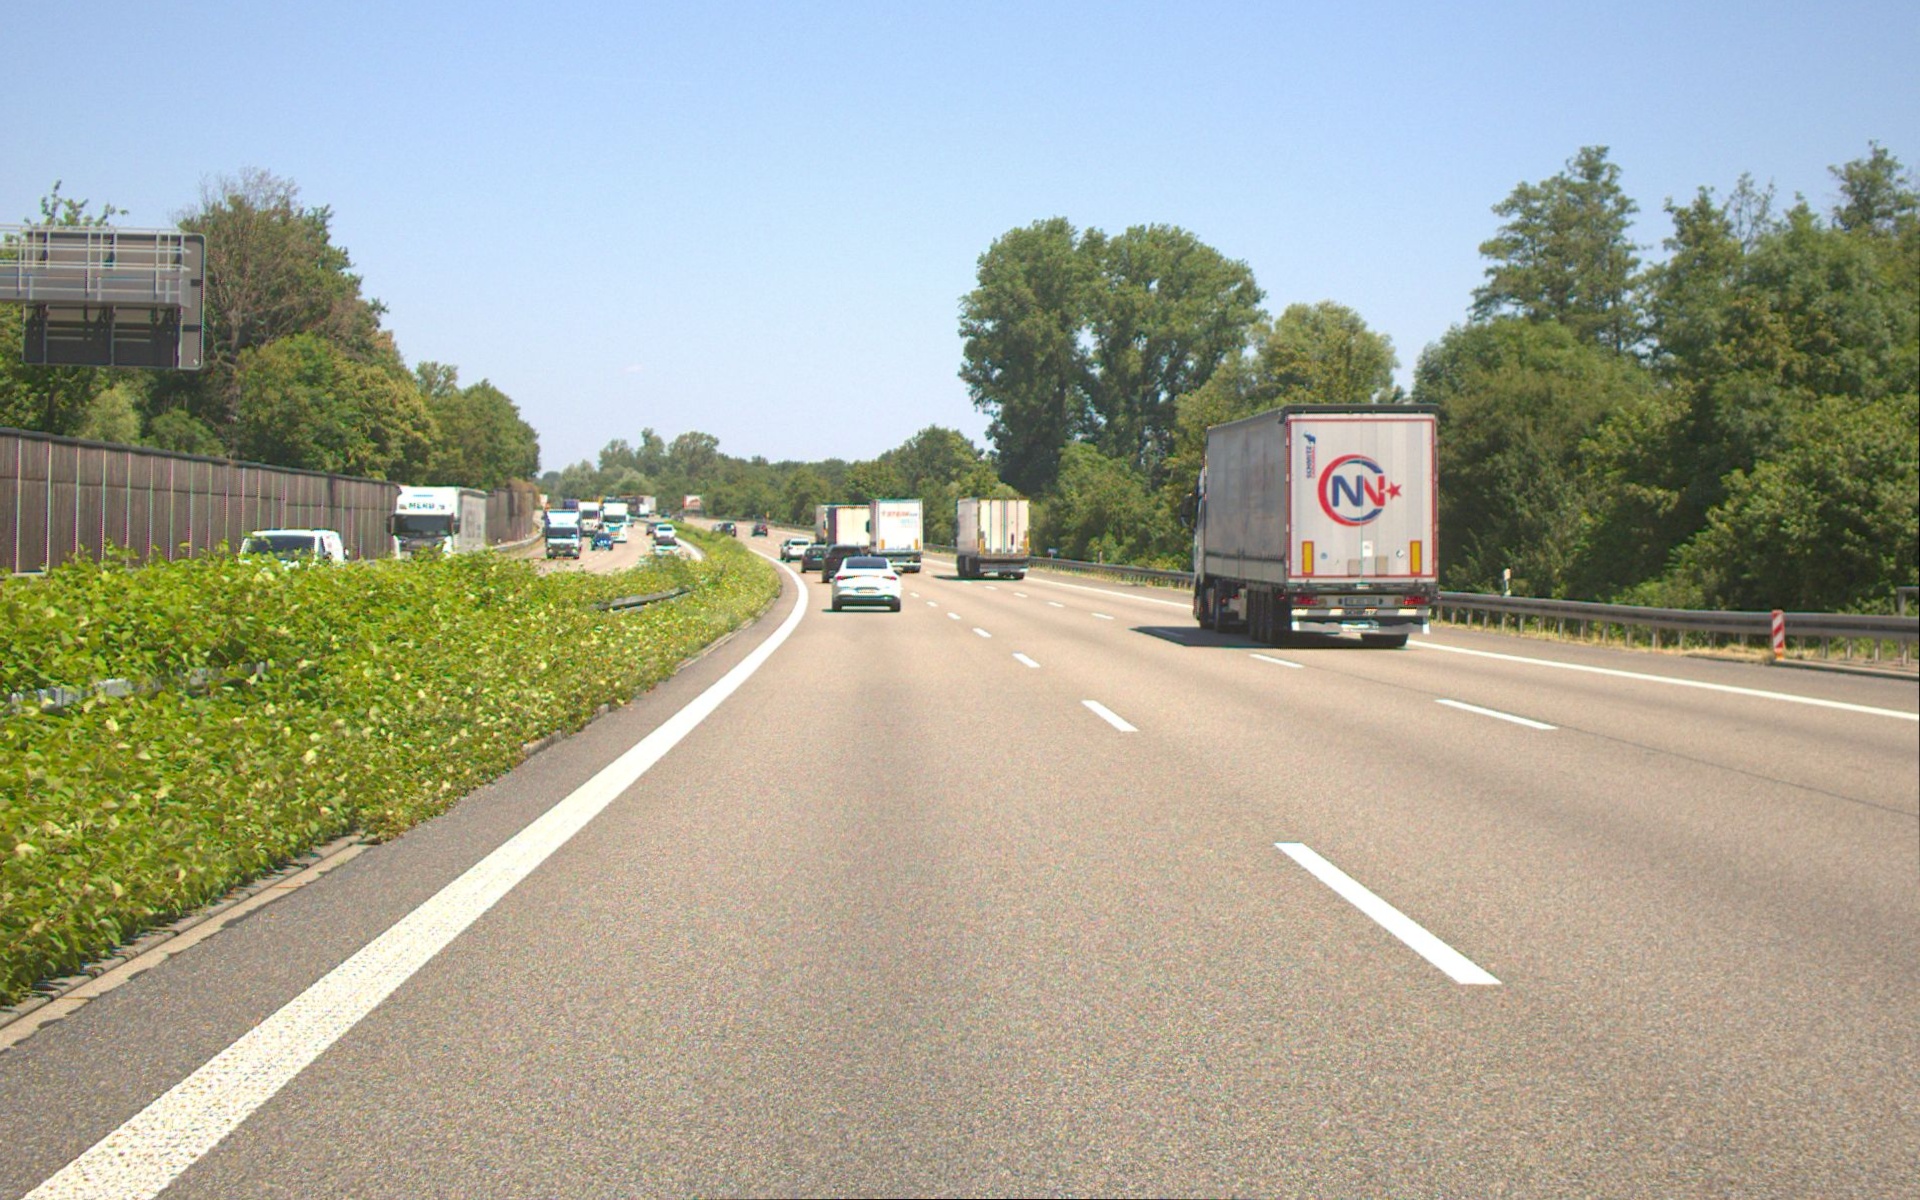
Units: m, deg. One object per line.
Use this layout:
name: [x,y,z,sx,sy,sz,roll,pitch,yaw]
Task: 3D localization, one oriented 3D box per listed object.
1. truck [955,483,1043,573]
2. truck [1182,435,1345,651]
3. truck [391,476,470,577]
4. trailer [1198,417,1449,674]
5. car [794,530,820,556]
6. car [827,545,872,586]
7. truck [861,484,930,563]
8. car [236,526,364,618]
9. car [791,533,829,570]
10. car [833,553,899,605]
truck: [1.846,-3.535,169.536,3.492,4.296,10.990,0,1,-4]
truck: [6.215,-1.175,71.073,2.605,4.272,5.436,1,1,-3]
truck: [-21.944,-3.041,142.757,2.519,4.052,6.372,1,1,-3]
trailer: [6.517,-1.023,64.084,2.624,4.246,14.062,1,1,-2]
car: [-10.810,-4.033,243.014,1.723,1.776,4.001,0,1,-4]
car: [-4.964,-1.545,153.934,1.993,1.766,4.001,0,1,-2]
truck: [-3.698,-4.291,194.148,3.359,4.296,10.830,0,1,-4]
car: [-14.855,-0.649,77.590,1.993,2.007,5.102,0,1,-1]
car: [-8.345,-2.685,191.267,1.993,2.007,4.001,0,1,-4]
car: [-2.515,-0.577,92.153,1.715,1.365,3.375,0,1,-1]
